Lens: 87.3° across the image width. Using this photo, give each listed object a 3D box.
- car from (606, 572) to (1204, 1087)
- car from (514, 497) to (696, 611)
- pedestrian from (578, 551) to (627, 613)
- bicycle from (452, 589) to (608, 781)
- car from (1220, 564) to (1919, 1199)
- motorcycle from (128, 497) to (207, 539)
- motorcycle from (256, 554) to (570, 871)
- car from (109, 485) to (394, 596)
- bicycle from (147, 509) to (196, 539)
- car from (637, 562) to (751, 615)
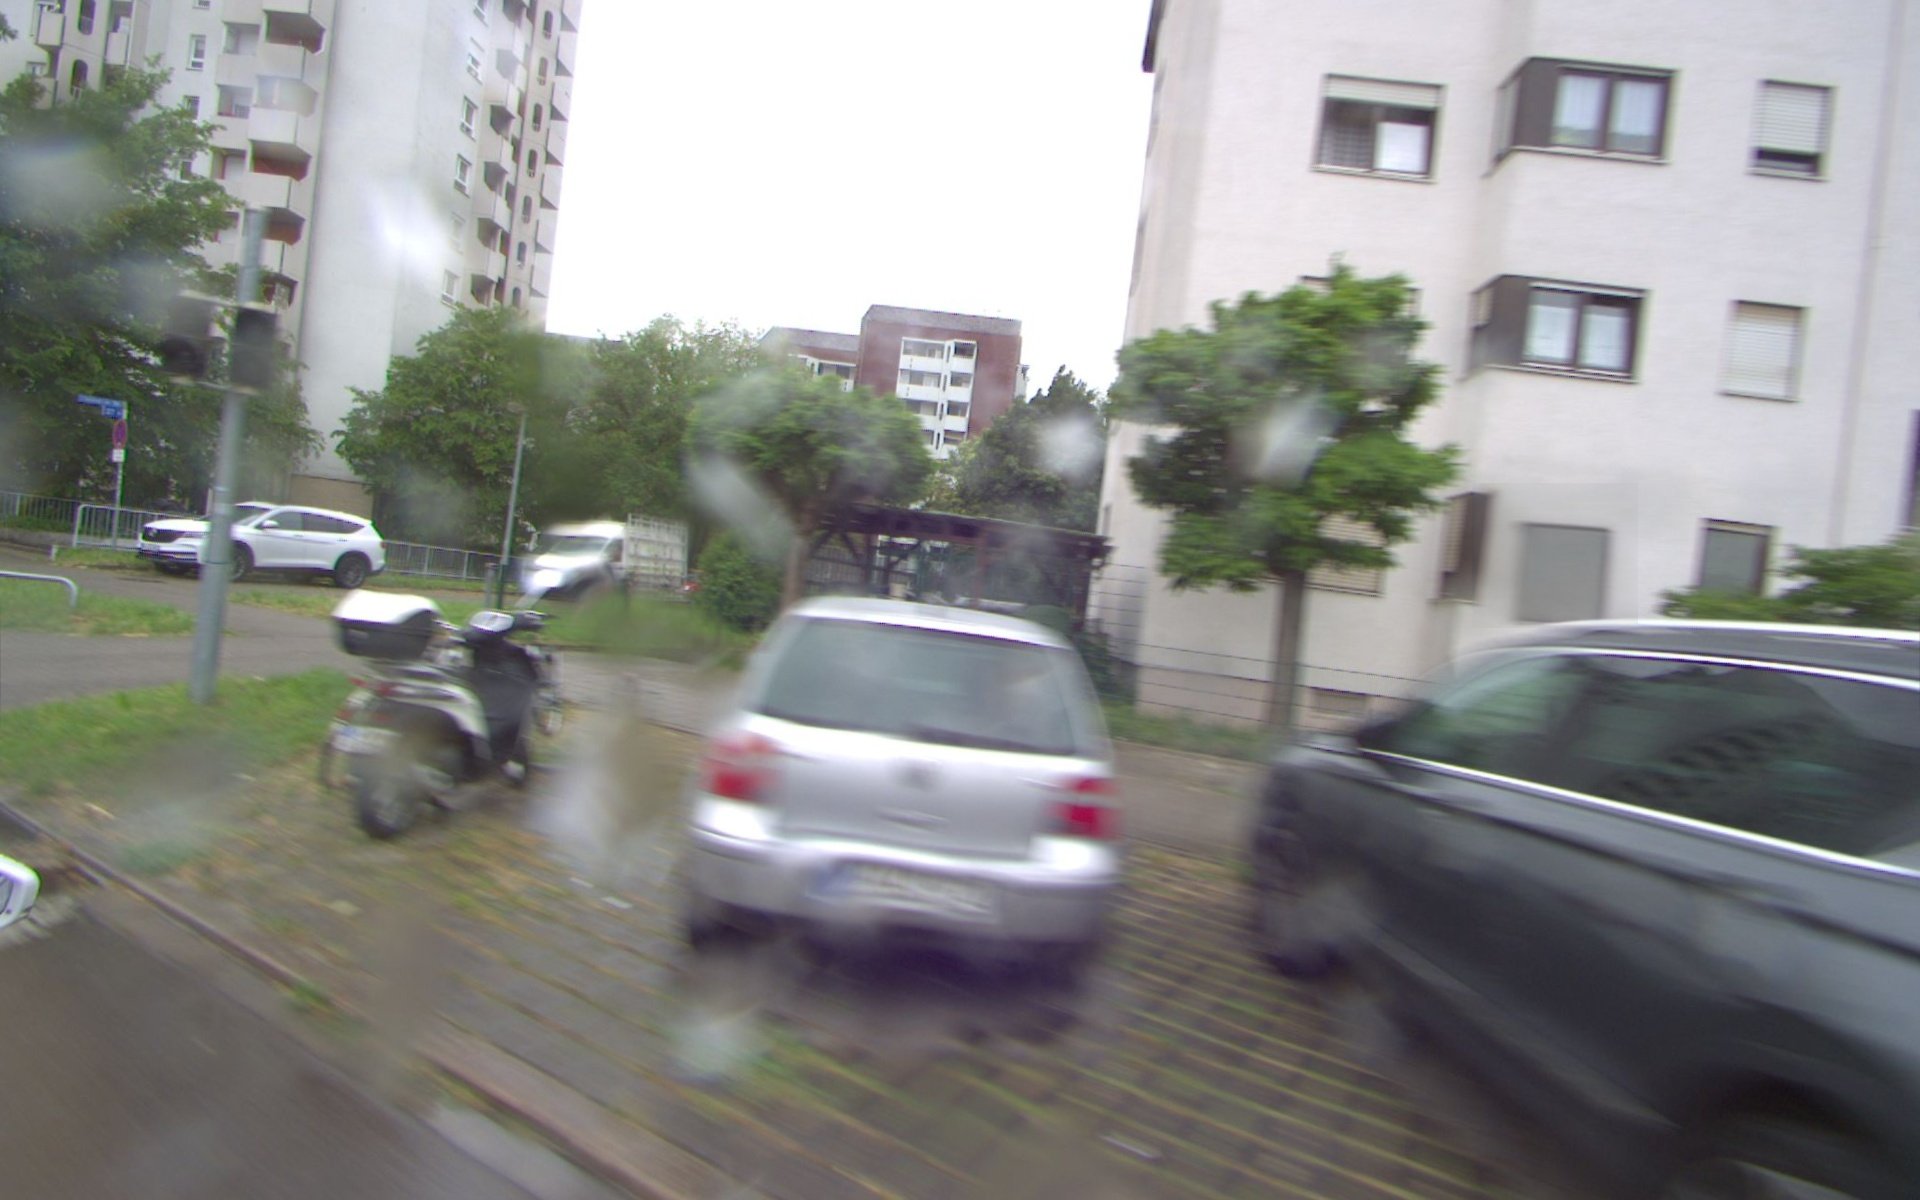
[{"bbox_3d":[-0.291,0.695,5.183,1.707,1.441,4.120,7,1,-4],"label":"car"},{"bbox_3d":[-11.366,-1.347,32.841,2.090,3.000,6.077,7,0,18],"label":"car"},{"bbox_3d":[-10.004,-0.489,28.151,0.799,1.590,0.840,7,1,15],"label":"pedestrian"},{"bbox_3d":[-3.066,0.543,7.356,0.619,1.116,1.950,6,1,-13],"label":"bicycle"},{"bbox_3d":[2.356,0.882,3.001,1.824,1.672,4.348,7,0,-1],"label":"car"},{"bbox_3d":[-31.575,-3.260,40.114,2.262,1.305,0.884,7,1,-5],"label":"motorcycle"},{"bbox_3d":[-2.788,0.493,5.382,0.677,1.354,1.778,7,1,-4],"label":"motorcycle"},{"bbox_3d":[-15.392,-1.207,22.252,1.962,1.767,4.820,7,0,18],"label":"car"},{"bbox_3d":[-30.603,-2.952,39.063,1.439,0.937,0.408,7,1,-5],"label":"bicycle"},{"bbox_3d":[-10.066,-0.388,38.401,1.872,1.544,4.418,7,0,20],"label":"car"}]
